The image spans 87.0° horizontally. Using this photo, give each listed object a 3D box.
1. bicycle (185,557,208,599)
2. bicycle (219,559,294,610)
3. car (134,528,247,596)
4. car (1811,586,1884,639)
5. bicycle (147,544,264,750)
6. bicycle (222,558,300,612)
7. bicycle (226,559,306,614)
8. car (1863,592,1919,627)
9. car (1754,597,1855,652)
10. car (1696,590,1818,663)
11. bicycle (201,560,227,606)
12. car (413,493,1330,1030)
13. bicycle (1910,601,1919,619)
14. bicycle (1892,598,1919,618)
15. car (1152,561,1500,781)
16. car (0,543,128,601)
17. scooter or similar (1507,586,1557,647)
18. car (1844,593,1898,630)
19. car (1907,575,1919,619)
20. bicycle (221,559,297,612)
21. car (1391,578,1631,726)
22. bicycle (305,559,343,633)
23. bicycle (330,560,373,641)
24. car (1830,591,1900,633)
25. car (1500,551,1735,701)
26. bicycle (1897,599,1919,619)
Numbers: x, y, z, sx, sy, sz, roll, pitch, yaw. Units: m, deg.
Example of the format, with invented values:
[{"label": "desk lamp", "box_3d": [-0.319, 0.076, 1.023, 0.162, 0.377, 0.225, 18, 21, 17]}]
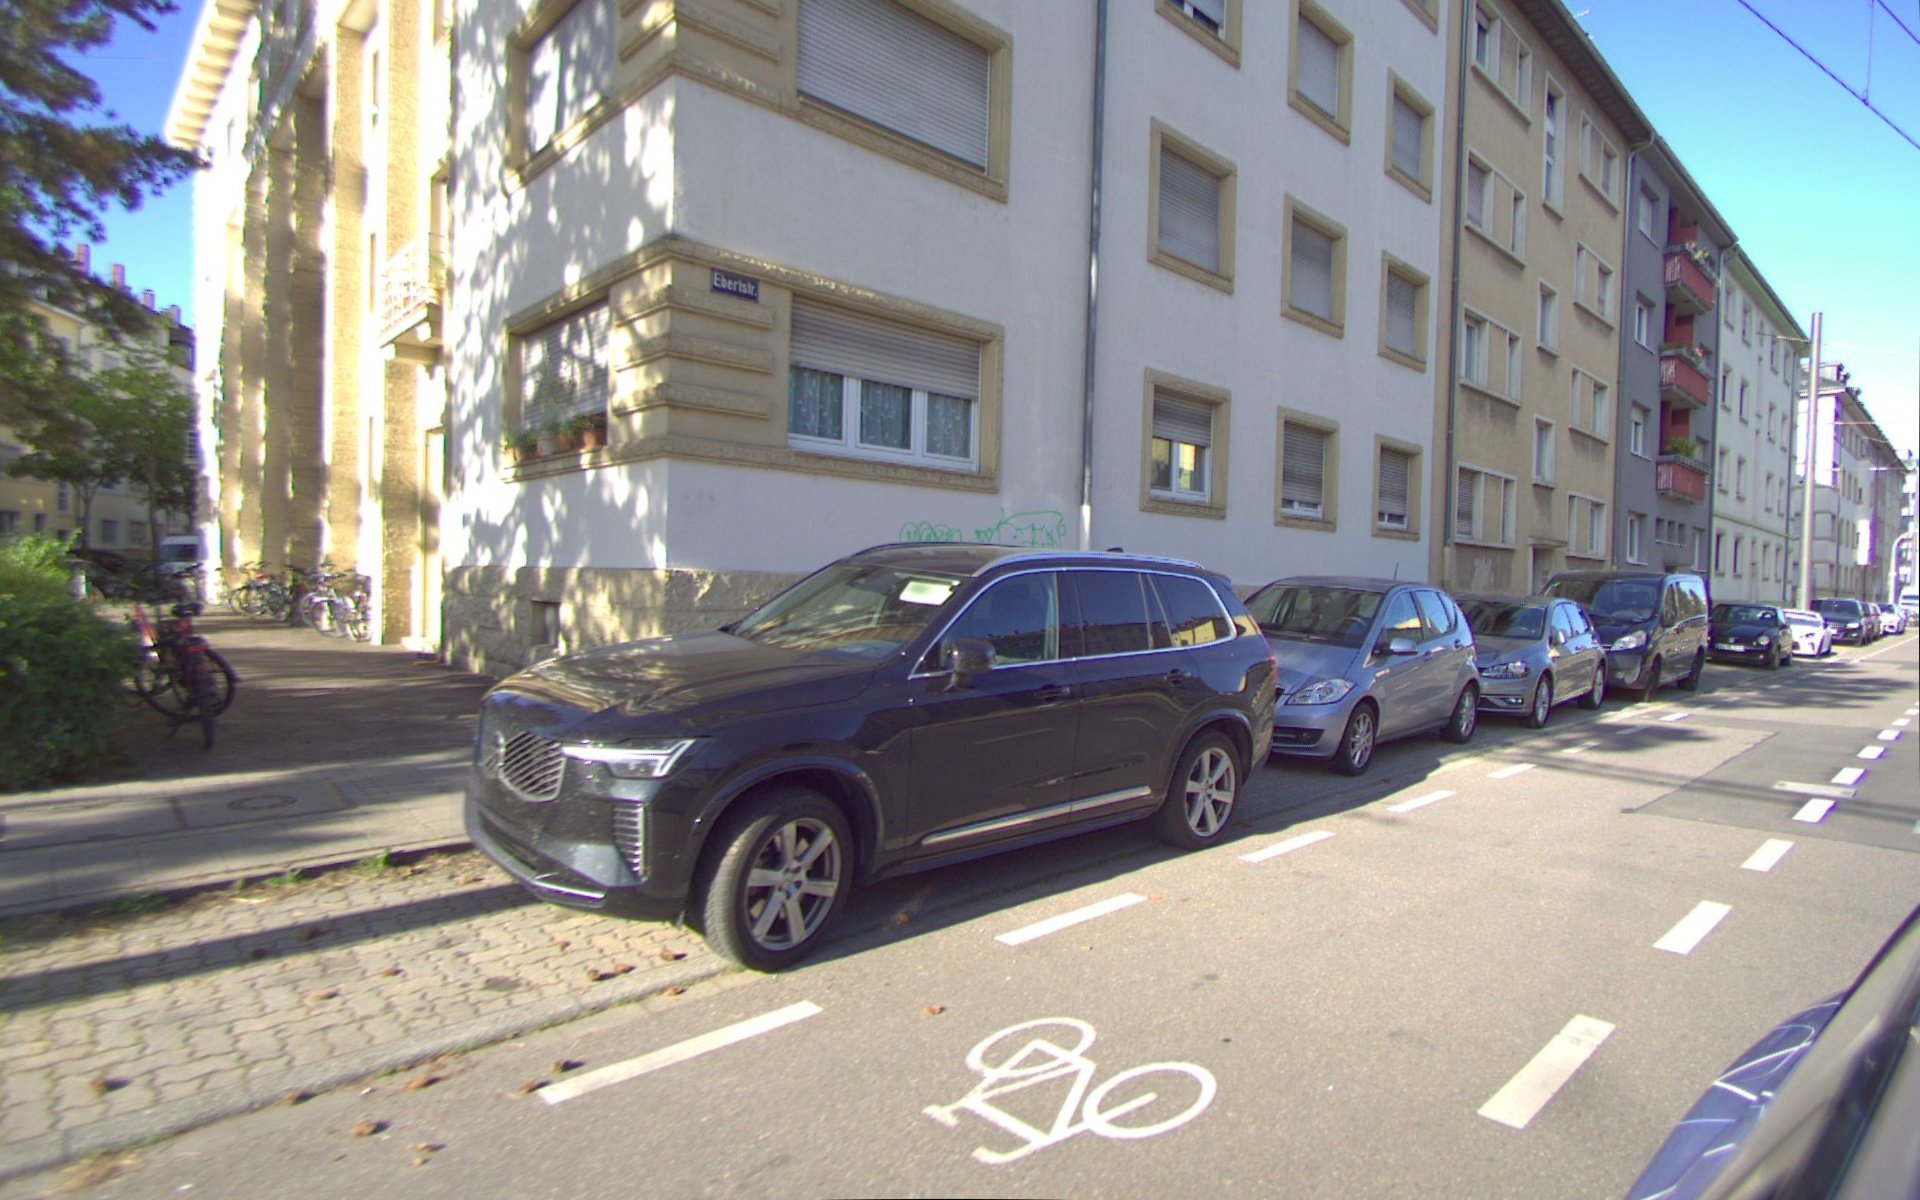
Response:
[{"label": "bicycle", "box_3d": [-21.693, -0.632, 28.738, 0.384, 1.126, 1.385, 0, 3, -42]}, {"label": "bicycle", "box_3d": [-15.954, -0.340, 22.958, 1.361, 1.126, 0.391, 1, 3, -38]}, {"label": "car", "box_3d": [-30.897, -1.443, 40.838, 2.081, 2.474, 5.328, 0, -1, -20]}, {"label": "car", "box_3d": [31.674, 0.410, 36.084, 1.637, 1.667, 4.303, 6, 4, 44]}, {"label": "bicycle", "box_3d": [-5.623, 0.269, 7.499, 0.554, 1.316, 1.834, 1, 3, -41]}, {"label": "bicycle", "box_3d": [-15.136, -0.324, 21.916, 1.361, 1.126, 0.391, 1, 3, -38]}, {"label": "bicycle", "box_3d": [-14.566, -0.275, 21.263, 1.361, 1.126, 0.391, 1, 3, -38]}, {"label": "car", "box_3d": [43.586, 0.418, 47.235, 4.305, 1.476, 1.696, 0, 2, -43]}, {"label": "car", "box_3d": [24.359, 0.652, 29.146, 4.232, 1.290, 1.705, 0, 5, -44]}, {"label": "car", "box_3d": [18.892, 0.571, 23.937, 3.725, 1.471, 1.638, 0, 4, -43]}, {"label": "bicycle", "box_3d": [-18.980, -0.442, 25.736, 0.384, 1.126, 1.384, 0, 2, -42]}, {"label": "car", "box_3d": [-0.086, 0.460, 5.596, 4.849, 1.737, 1.883, 0, 5, -42]}, {"label": "bicycle", "box_3d": [59.182, 0.605, 61.811, 0.478, 1.101, 2.025, 0, -1, 4]}, {"label": "bicycle", "box_3d": [57.370, 0.489, 61.055, 0.465, 1.100, 1.919, 4, 3, 0]}, {"label": "car", "box_3d": [3.591, 0.509, 9.562, 1.595, 1.598, 3.834, 5, 4, 44]}, {"label": "car", "box_3d": [-27.956, -0.823, 31.607, 1.762, 1.631, 4.007, 0, -1, -20]}, {"label": "scooter or similar", "box_3d": [12.452, 0.343, 22.023, 1.316, 1.253, 0.459, 0, 5, -43]}, {"label": "car", "box_3d": [39.587, 0.465, 43.944, 1.636, 1.476, 4.018, 3, 2, 43]}, {"label": "car", "box_3d": [62.703, -0.118, 65.086, 6.186, 2.729, 2.154, 0, 3, -44]}, {"label": "bicycle", "box_3d": [-15.444, -0.316, 22.308, 1.361, 1.126, 0.391, 1, 3, -38]}, {"label": "car", "box_3d": [7.011, 0.527, 12.672, 1.511, 1.496, 4.170, 4, 3, 44]}, {"label": "bicycle", "box_3d": [-10.393, -0.081, 16.554, 0.383, 1.126, 1.390, 1, 3, -27]}, {"label": "bicycle", "box_3d": [-9.263, -0.012, 15.393, 0.384, 1.126, 1.387, 1, 3, -38]}, {"label": "car", "box_3d": [35.813, 0.457, 39.996, 4.117, 1.536, 1.638, 0, 2, -43]}, {"label": "car", "box_3d": [10.564, 0.314, 16.080, 5.049, 1.922, 1.916, 0, 5, -44]}, {"label": "bicycle", "box_3d": [58.223, 0.553, 61.645, 0.465, 1.100, 1.919, -1, 3, 0]}]
